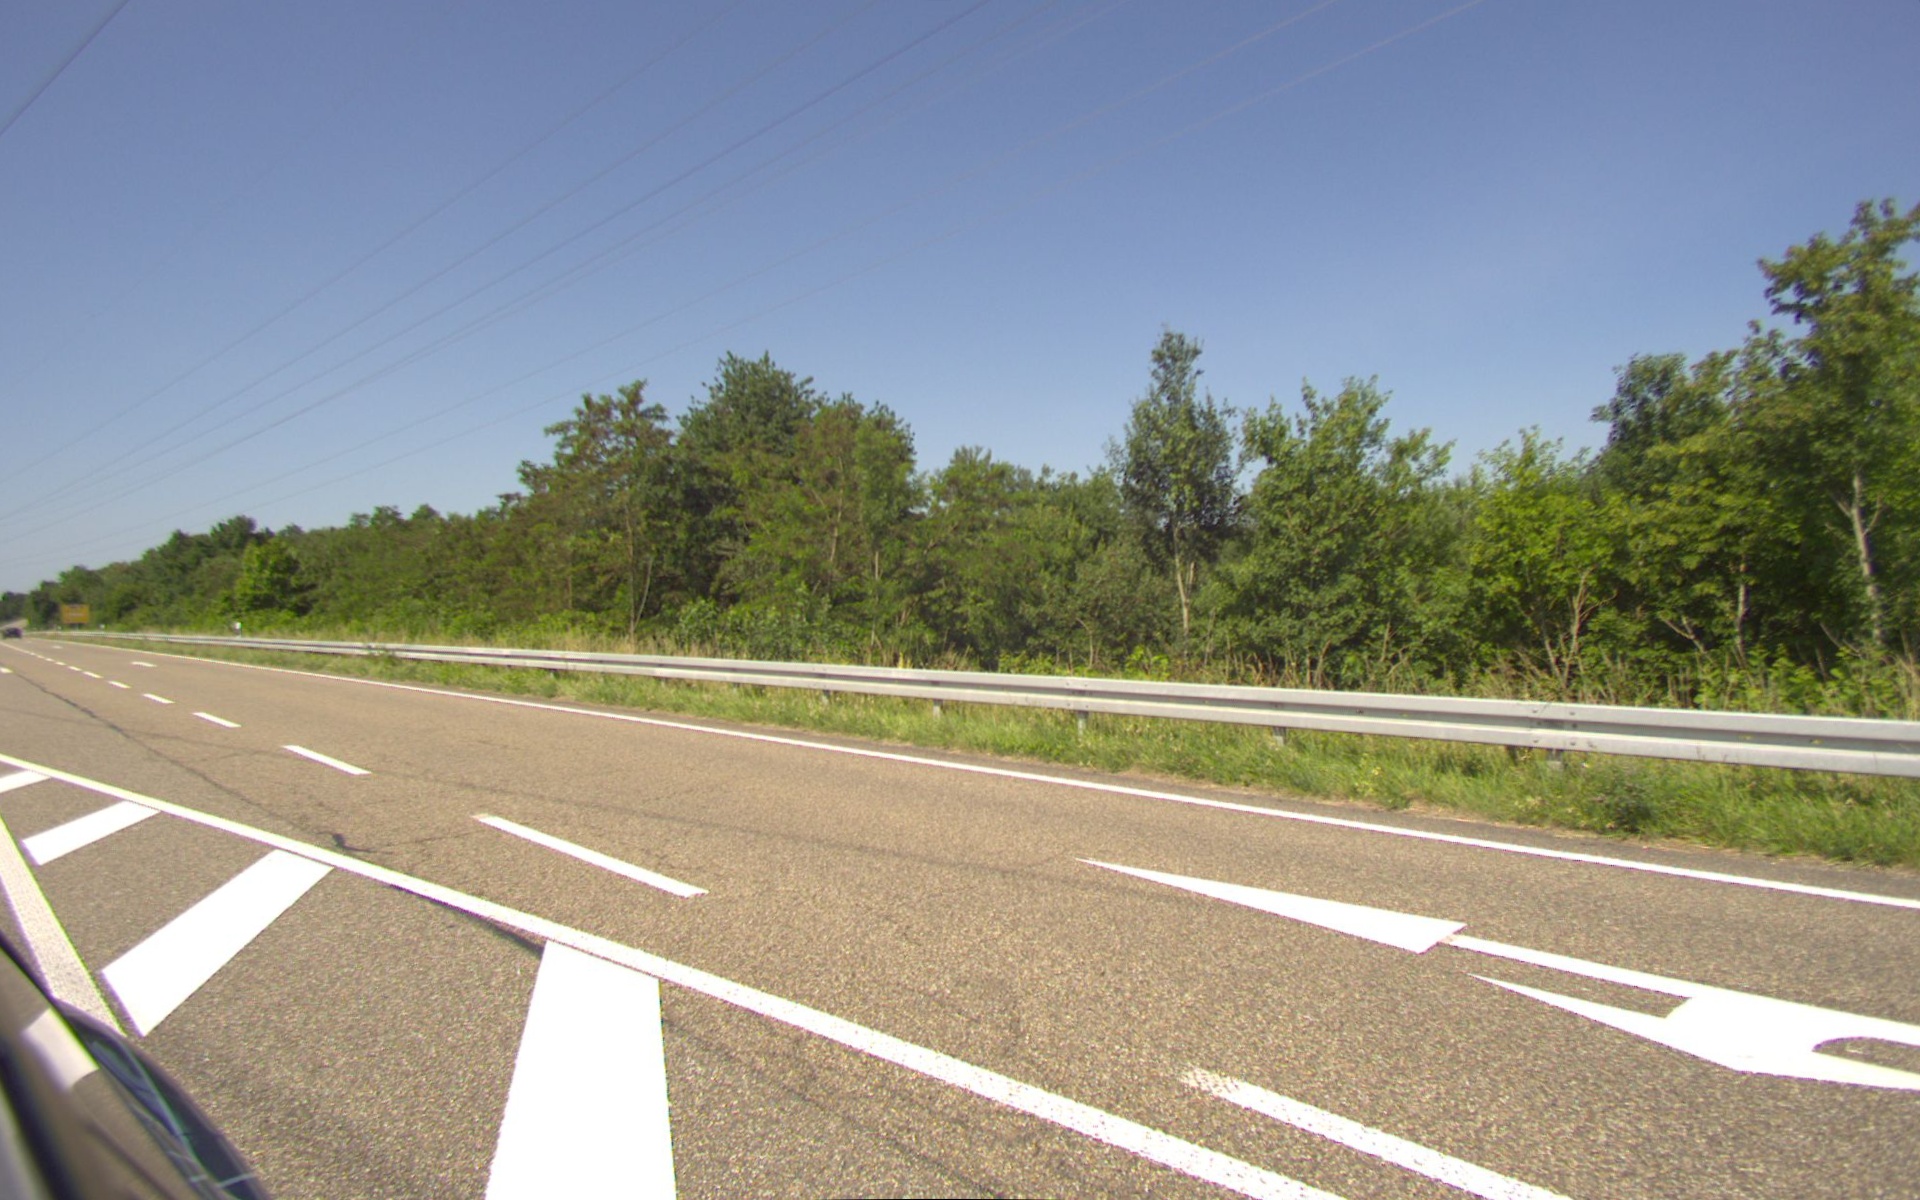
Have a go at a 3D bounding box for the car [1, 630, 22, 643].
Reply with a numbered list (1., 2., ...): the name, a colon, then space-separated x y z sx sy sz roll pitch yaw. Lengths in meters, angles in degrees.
1. car: -118.617 4.596 126.533 1.807 1.595 4.003 1 -2 -44
